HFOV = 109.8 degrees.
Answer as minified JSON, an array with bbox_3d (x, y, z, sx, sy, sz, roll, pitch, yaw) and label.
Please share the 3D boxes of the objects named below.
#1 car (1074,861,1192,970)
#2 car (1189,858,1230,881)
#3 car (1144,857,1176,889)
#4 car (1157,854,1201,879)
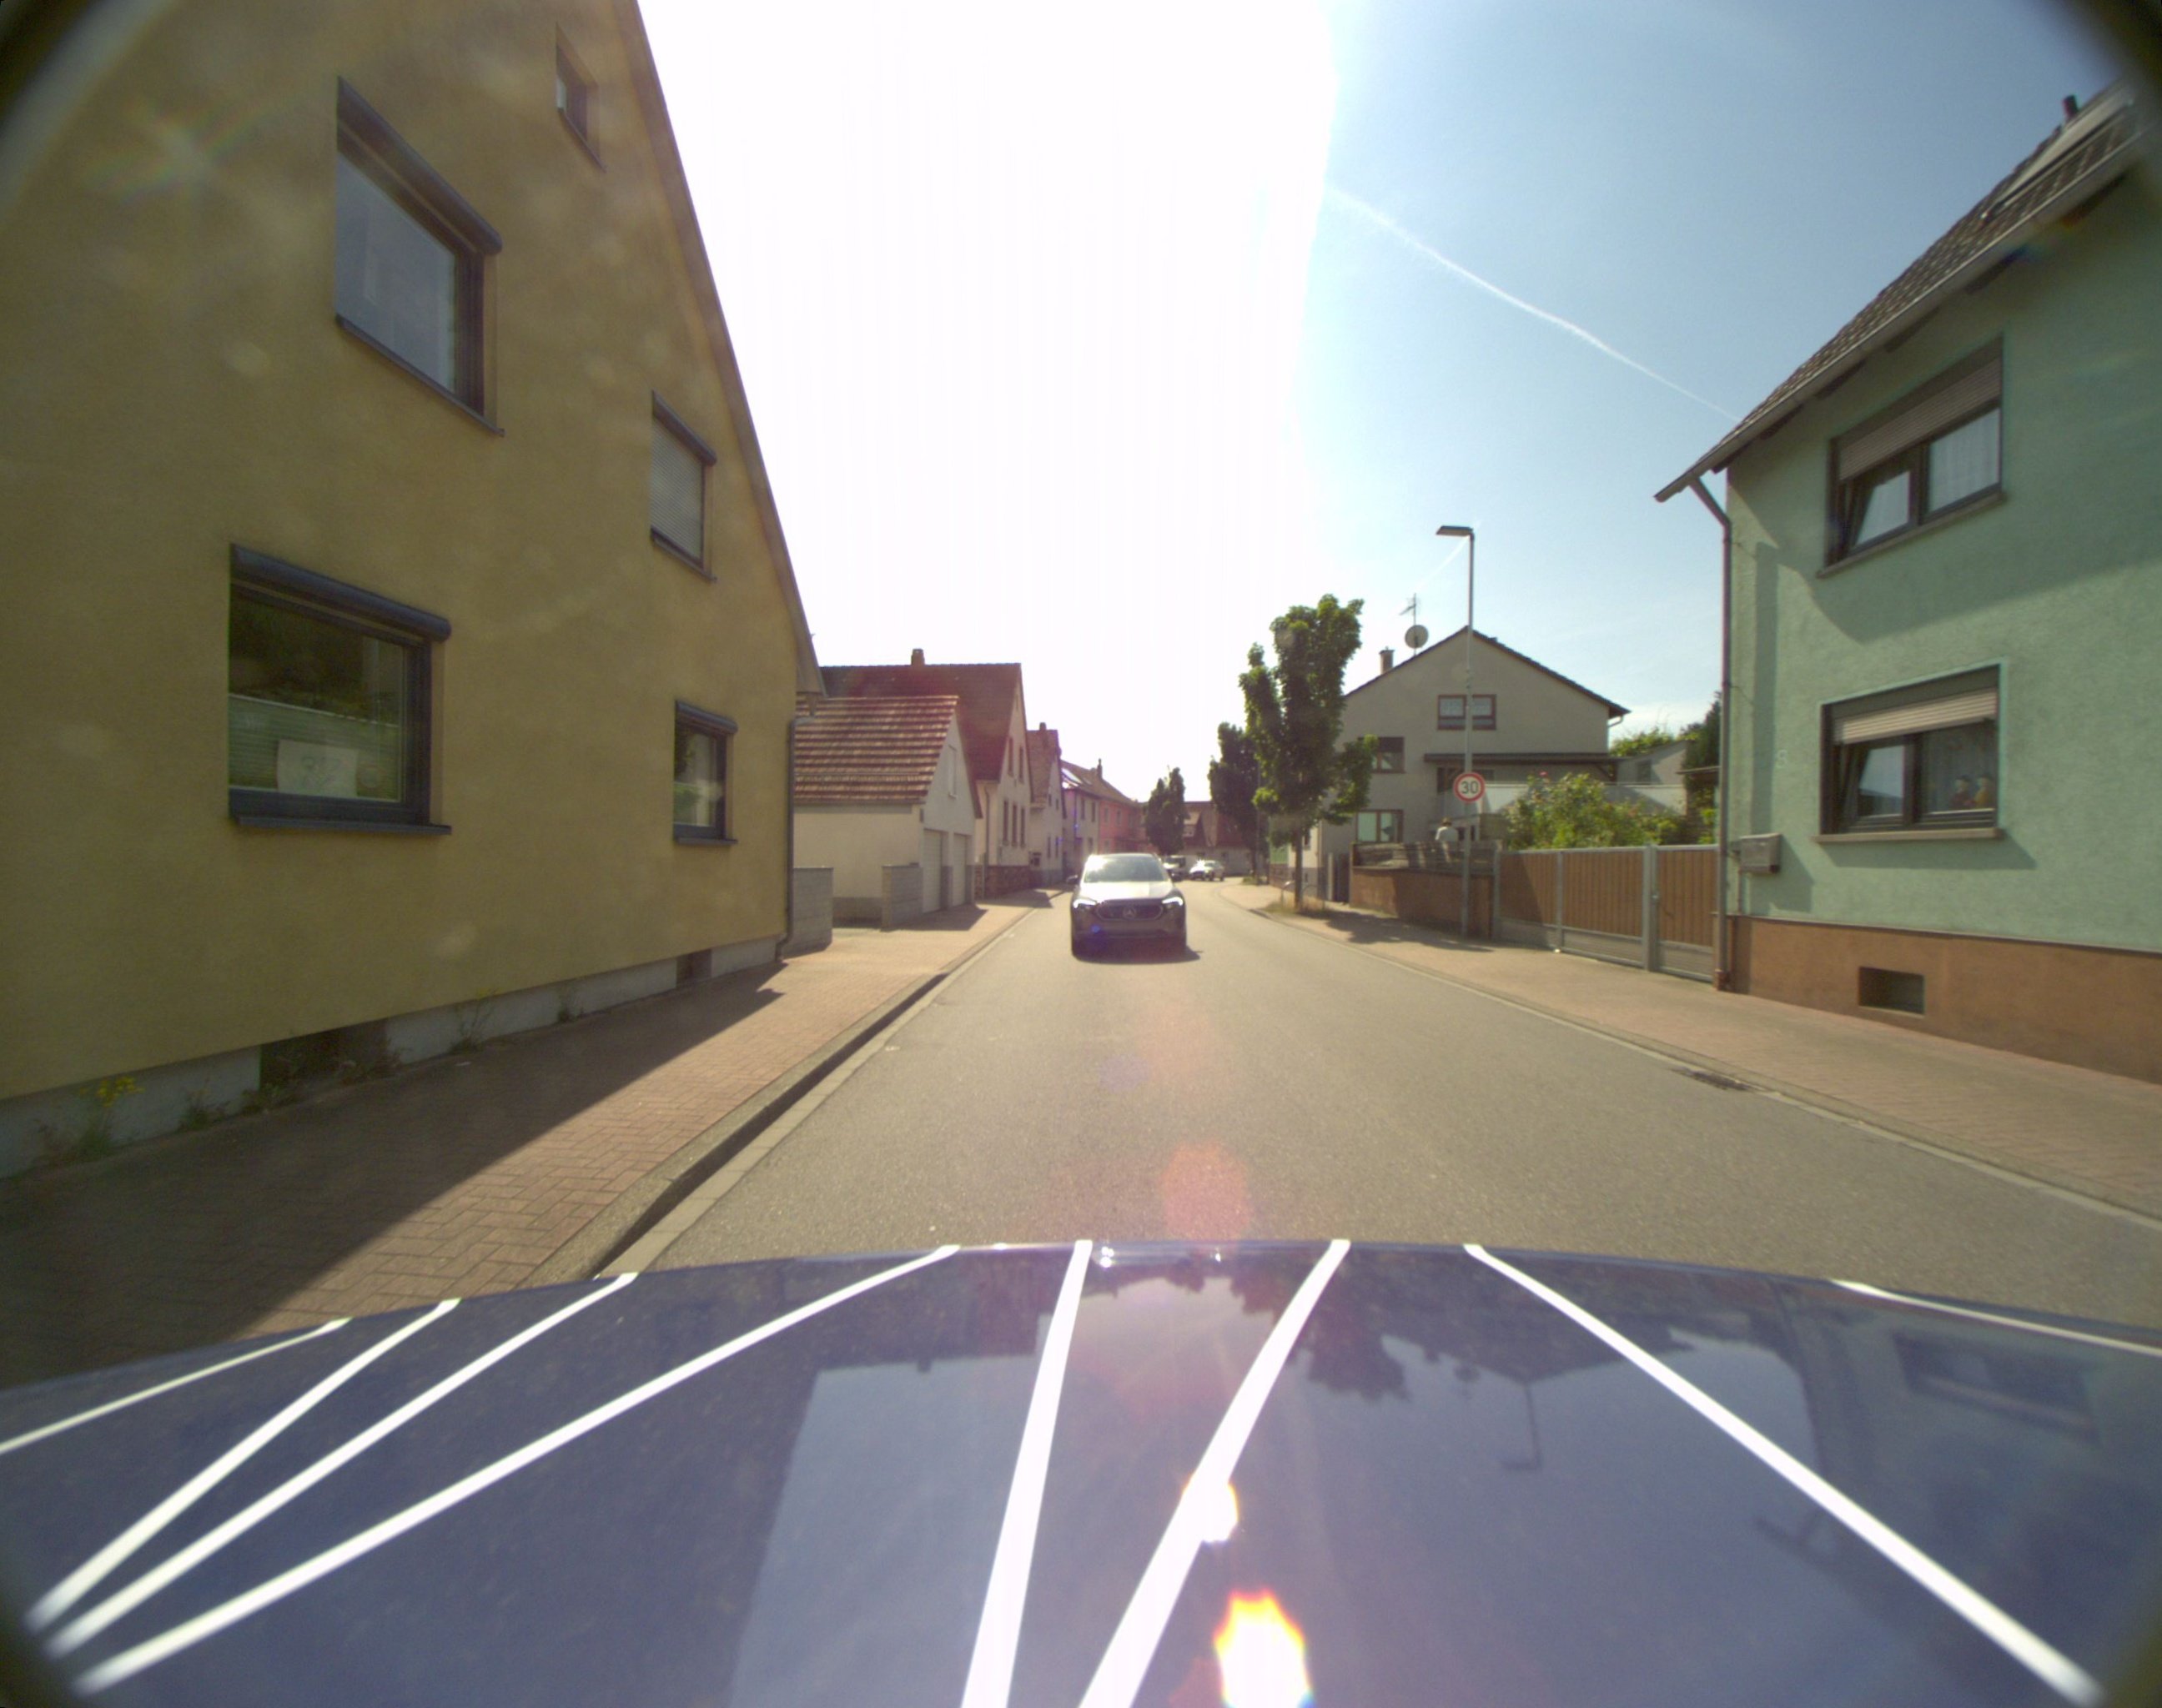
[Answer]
[{"bbox_3d":[0.788,0.927,13.293,1.737,1.564,4.290,0,0,1],"label":"car"},{"bbox_3d":[10.136,1.185,59.575,1.803,1.617,4.131,-2,1,30],"label":"car"},{"bbox_3d":[4.524,1.052,43.943,1.791,1.643,4.394,0,1,5],"label":"car"},{"bbox_3d":[8.006,0.975,61.767,1.944,1.841,4.517,-2,1,30],"label":"car"}]
